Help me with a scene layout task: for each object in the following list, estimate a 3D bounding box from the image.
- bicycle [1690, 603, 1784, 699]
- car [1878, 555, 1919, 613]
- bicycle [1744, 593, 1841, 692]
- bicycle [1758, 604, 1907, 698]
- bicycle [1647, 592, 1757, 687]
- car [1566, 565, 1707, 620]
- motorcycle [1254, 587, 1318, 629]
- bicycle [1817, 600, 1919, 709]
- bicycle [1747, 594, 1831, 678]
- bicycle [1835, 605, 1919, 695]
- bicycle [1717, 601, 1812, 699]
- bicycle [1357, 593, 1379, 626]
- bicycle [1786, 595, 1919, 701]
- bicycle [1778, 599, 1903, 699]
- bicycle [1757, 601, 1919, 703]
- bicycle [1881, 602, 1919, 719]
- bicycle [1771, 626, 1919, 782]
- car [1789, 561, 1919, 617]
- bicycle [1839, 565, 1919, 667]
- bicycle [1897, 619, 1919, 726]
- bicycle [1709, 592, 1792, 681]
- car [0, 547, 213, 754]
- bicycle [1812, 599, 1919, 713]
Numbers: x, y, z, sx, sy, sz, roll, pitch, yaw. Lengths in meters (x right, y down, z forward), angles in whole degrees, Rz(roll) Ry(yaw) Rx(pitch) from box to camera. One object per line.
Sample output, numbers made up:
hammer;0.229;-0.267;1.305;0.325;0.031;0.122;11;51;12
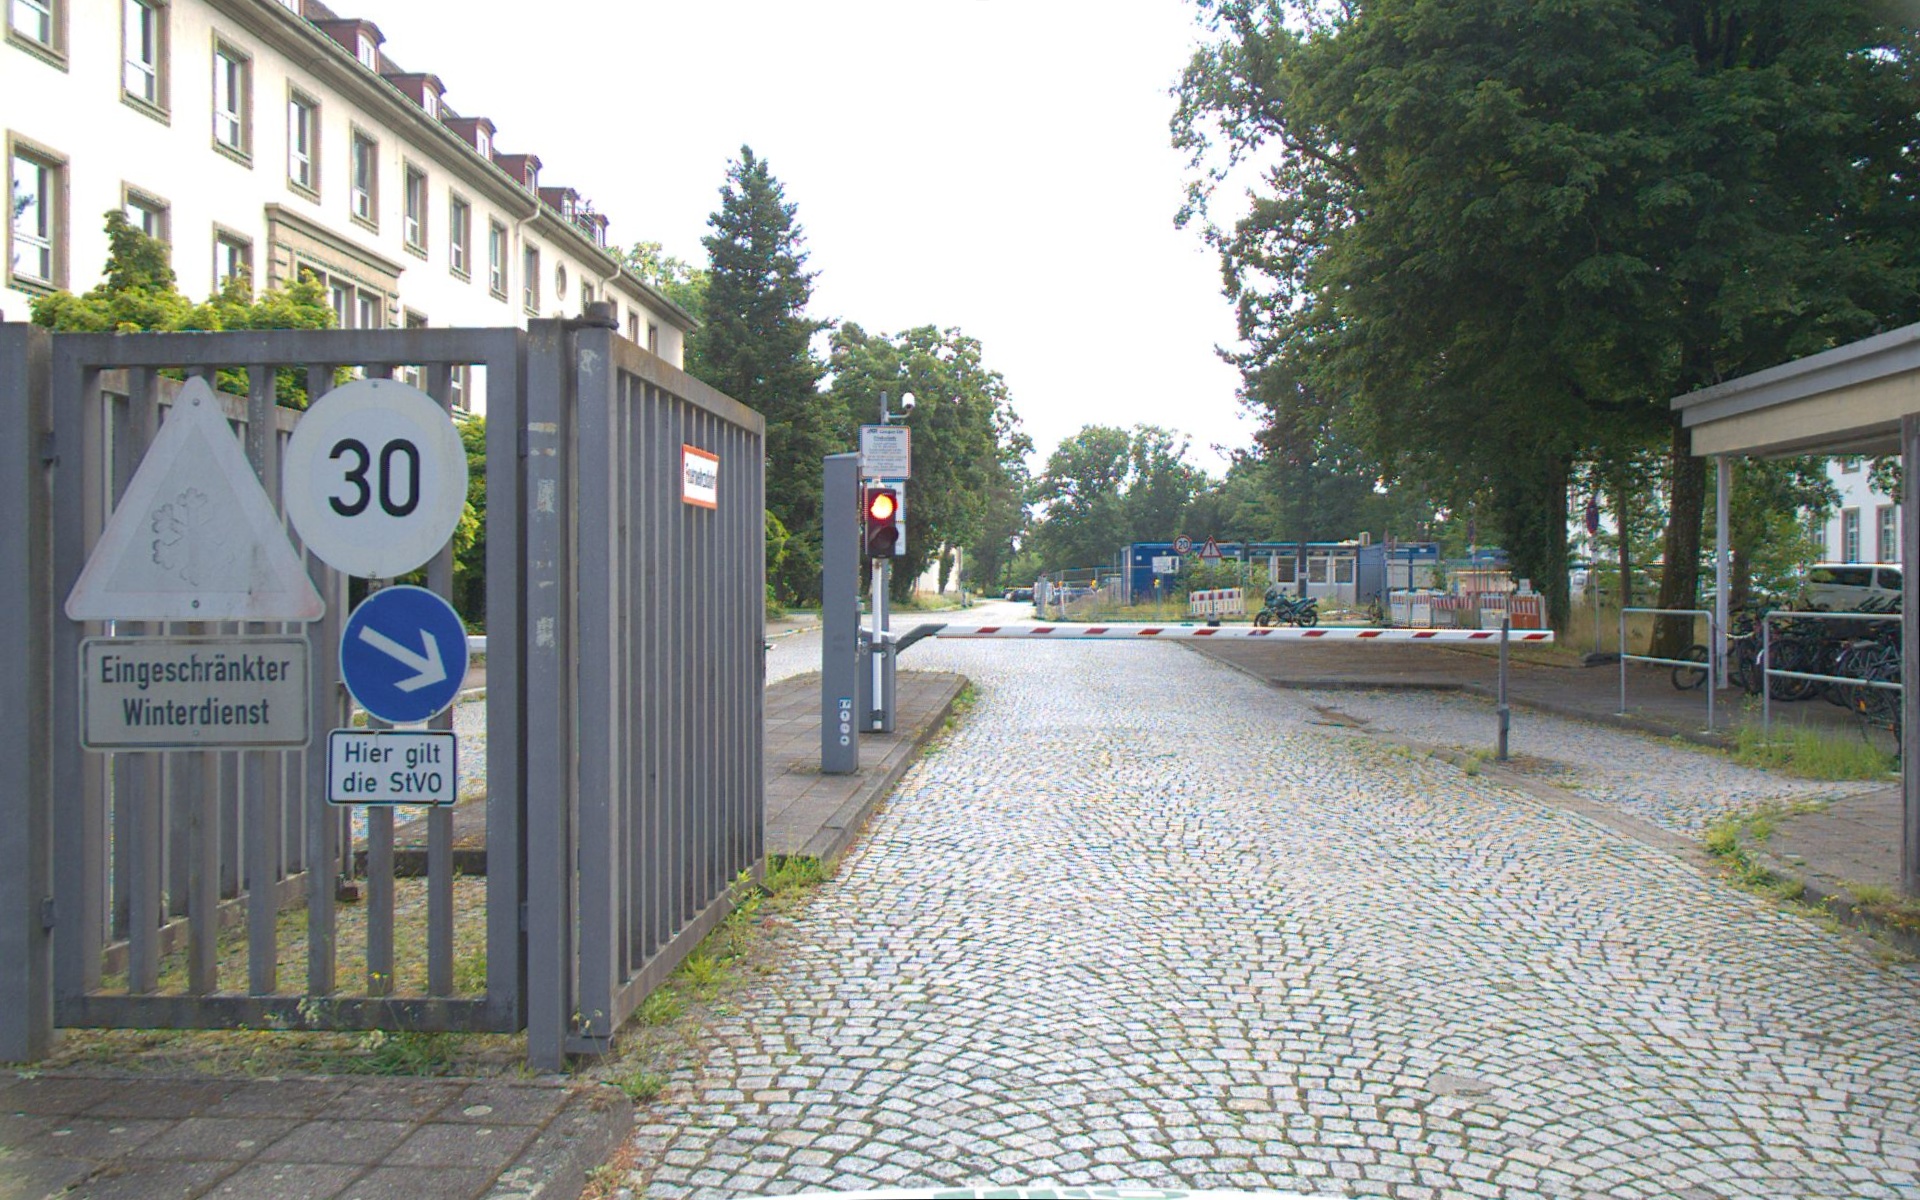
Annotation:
bicycle;9.923;0.644;21.103;1.363;1.191;0.355;1;-2;-30
car;31.543;-0.513;51.651;1.968;1.820;4.802;0;0;-25
bicycle;10.262;0.519;20.382;1.363;1.191;0.355;1;-2;-30
bicycle;11.064;0.659;21.033;0.438;1.138;1.786;0;-3;-22
bicycle;9.758;0.519;21.741;1.357;1.191;0.431;-1;-2;-19
car;23.437;-0.258;57.439;4.131;1.852;2.001;0;-1;5
motorcycle;10.208;0.254;51.776;1.916;1.215;0.461;-2;5;1
bicycle;10.535;0.603;18.575;1.772;1.191;0.495;0;-2;-18
bicycle;12.223;0.538;24.428;0.493;1.191;1.555;-1;-2;2
bicycle;11.927;0.626;21.027;0.364;1.100;1.895;0;-1;-7
bicycle;10.087;0.619;20.735;1.363;1.191;0.355;1;-2;-30
bicycle;13.132;0.314;53.214;0.325;1.025;1.726;-1;-2;2
bicycle;10.424;0.543;19.101;1.717;1.191;0.495;0;-2;-18
bicycle;10.700;0.596;20.099;1.351;1.191;0.358;0;-2;-6
bicycle;10.451;0.616;19.688;1.764;1.191;0.358;0;-2;-3
bicycle;10.403;0.614;17.167;1.673;1.180;0.399;0;-2;-17
bicycle;7.073;0.771;12.898;0.715;1.091;1.714;-1;0;3
car;28.691;-0.320;51.698;1.968;1.679;4.802;0;0;-25
bicycle;11.919;0.278;20.525;0.368;1.124;1.896;-31;13;-4
bicycle;10.408;0.715;16.556;1.941;1.047;0.400;0;-2;-8
bicycle;11.673;0.521;24.462;0.493;1.104;1.587;0;6;3
car;-9.938;0.362;16.142;4.346;1.781;1.859;4;1;-1
bicycle;10.142;0.591;17.740;1.767;1.191;0.582;0;-2;-9
